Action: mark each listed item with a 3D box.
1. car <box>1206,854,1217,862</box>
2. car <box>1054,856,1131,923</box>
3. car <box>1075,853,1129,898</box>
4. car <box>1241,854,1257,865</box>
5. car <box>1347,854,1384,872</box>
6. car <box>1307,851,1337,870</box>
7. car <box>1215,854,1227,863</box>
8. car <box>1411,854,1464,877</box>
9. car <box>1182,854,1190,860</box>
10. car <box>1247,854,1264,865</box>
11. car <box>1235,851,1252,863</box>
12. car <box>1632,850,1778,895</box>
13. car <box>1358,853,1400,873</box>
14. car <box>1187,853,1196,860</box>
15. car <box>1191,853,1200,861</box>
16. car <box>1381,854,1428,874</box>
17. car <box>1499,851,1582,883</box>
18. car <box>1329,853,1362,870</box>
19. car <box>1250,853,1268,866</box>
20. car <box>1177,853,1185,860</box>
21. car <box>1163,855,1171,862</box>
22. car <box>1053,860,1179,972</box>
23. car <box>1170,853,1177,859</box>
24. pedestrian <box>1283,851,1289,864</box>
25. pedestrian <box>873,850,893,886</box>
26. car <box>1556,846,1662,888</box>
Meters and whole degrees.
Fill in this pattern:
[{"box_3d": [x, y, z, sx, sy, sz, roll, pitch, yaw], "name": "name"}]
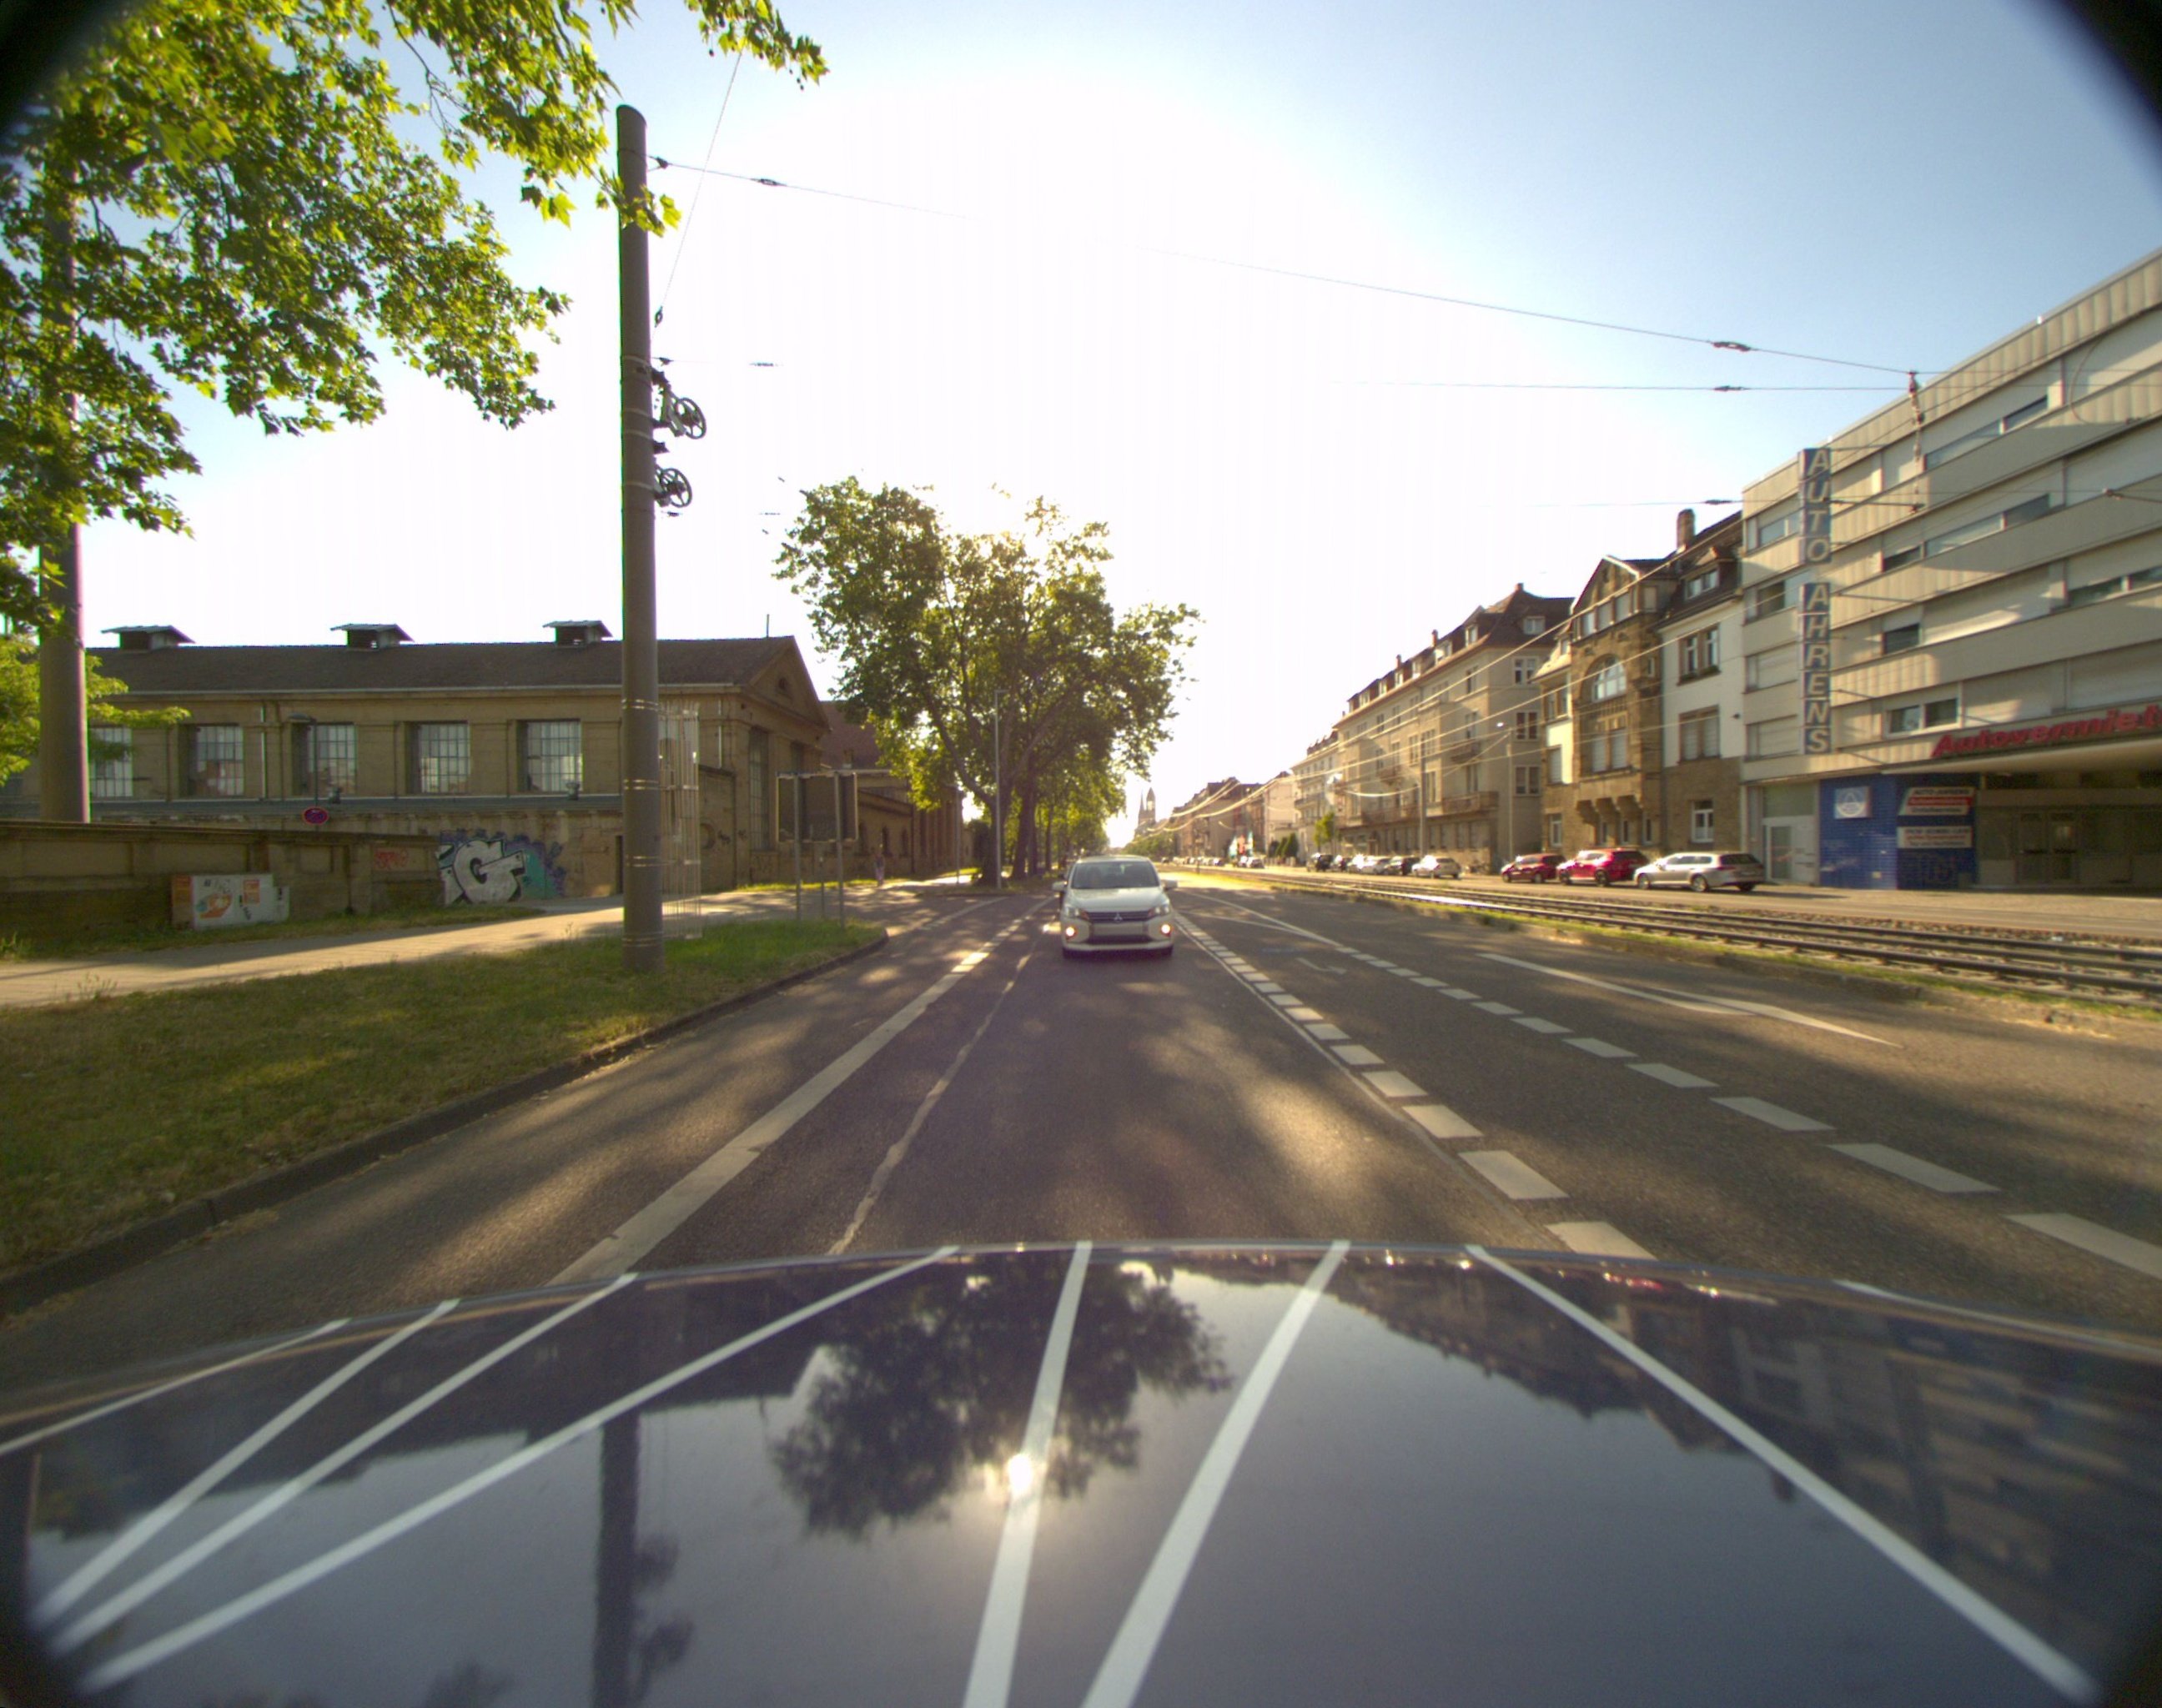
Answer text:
[{"box_3d": [25.498, 0.808, 148.831, 1.624, 1.581, 3.450, -2, 0, 1], "name": "car"}, {"box_3d": [0.309, 0.807, 19.050, 1.686, 1.462, 4.055, -1, 0, 2], "name": "car"}, {"box_3d": [0.781, 0.735, 28.120, 1.833, 1.543, 4.000, -1, 0, 2], "name": "car"}, {"box_3d": [24.995, 0.783, 113.305, 1.684, 1.562, 3.388, -2, 0, 1], "name": "car"}, {"box_3d": [24.421, 0.733, 65.393, 1.802, 1.470, 3.823, -2, 0, 2], "name": "car"}, {"box_3d": [24.265, 0.654, 76.706, 1.875, 1.726, 3.916, -2, 0, 2], "name": "car"}, {"box_3d": [25.687, 0.754, 139.598, 1.624, 1.581, 3.450, -2, 0, 1], "name": "car"}, {"box_3d": [23.869, 0.748, 50.972, 1.802, 1.470, 3.823, -2, 0, 2], "name": "car"}, {"box_3d": [26.434, 0.740, 191.262, 1.624, 1.581, 3.450, -2, 0, 1], "name": "car"}, {"box_3d": [24.954, 0.804, 108.664, 1.684, 1.562, 3.388, -2, 0, 1], "name": "car"}, {"box_3d": [25.470, 0.515, 119.161, 1.727, 1.776, 3.881, -2, 0, 1], "name": "car"}, {"box_3d": [23.323, 0.650, 28.640, 1.861, 1.490, 4.382, -3, 0, 0], "name": "car"}, {"box_3d": [23.672, 0.718, 60.496, 1.642, 1.438, 3.538, -2, 0, -6], "name": "car"}, {"box_3d": [26.738, 0.673, 183.756, 1.624, 1.581, 3.450, -2, 0, 1], "name": "car"}, {"box_3d": [26.853, 0.695, 178.745, 1.624, 1.581, 3.450, -2, 0, 1], "name": "car"}, {"box_3d": [23.934, 0.717, 56.350, 1.802, 1.422, 3.823, -2, 0, -1], "name": "car"}, {"box_3d": [23.564, 0.663, 39.096, 1.756, 1.487, 3.728, -3, 0, -5], "name": "car"}, {"box_3d": [24.762, 0.713, 71.312, 1.802, 1.470, 3.823, -2, 0, 2], "name": "car"}, {"box_3d": [24.209, 0.762, 103.260, 1.677, 1.622, 3.408, -2, 0, 2], "name": "car"}, {"box_3d": [26.605, 0.672, 201.746, 1.624, 1.581, 3.450, -2, 0, 1], "name": "car"}, {"box_3d": [21.948, 1.099, 194.273, 1.822, 1.674, 4.000, -1, 0, 2], "name": "car"}, {"box_3d": [0.528, 0.862, 12.359, 1.686, 1.462, 4.055, -1, 0, 2], "name": "car"}, {"box_3d": [27.942, 0.667, 228.681, 1.624, 1.581, 3.450, -2, 0, 1], "name": "car"}, {"box_3d": [28.088, 0.475, 104.143, 0.725, 1.779, 0.678, 0, 0, 1], "name": "pedestrian"}, {"box_3d": [-9.302, 0.648, 35.693, 0.672, 1.652, 0.874, 0, 0, 2], "name": "pedestrian"}, {"box_3d": [23.478, 0.557, 33.991, 1.860, 1.677, 4.263, -3, 0, 2], "name": "car"}]
